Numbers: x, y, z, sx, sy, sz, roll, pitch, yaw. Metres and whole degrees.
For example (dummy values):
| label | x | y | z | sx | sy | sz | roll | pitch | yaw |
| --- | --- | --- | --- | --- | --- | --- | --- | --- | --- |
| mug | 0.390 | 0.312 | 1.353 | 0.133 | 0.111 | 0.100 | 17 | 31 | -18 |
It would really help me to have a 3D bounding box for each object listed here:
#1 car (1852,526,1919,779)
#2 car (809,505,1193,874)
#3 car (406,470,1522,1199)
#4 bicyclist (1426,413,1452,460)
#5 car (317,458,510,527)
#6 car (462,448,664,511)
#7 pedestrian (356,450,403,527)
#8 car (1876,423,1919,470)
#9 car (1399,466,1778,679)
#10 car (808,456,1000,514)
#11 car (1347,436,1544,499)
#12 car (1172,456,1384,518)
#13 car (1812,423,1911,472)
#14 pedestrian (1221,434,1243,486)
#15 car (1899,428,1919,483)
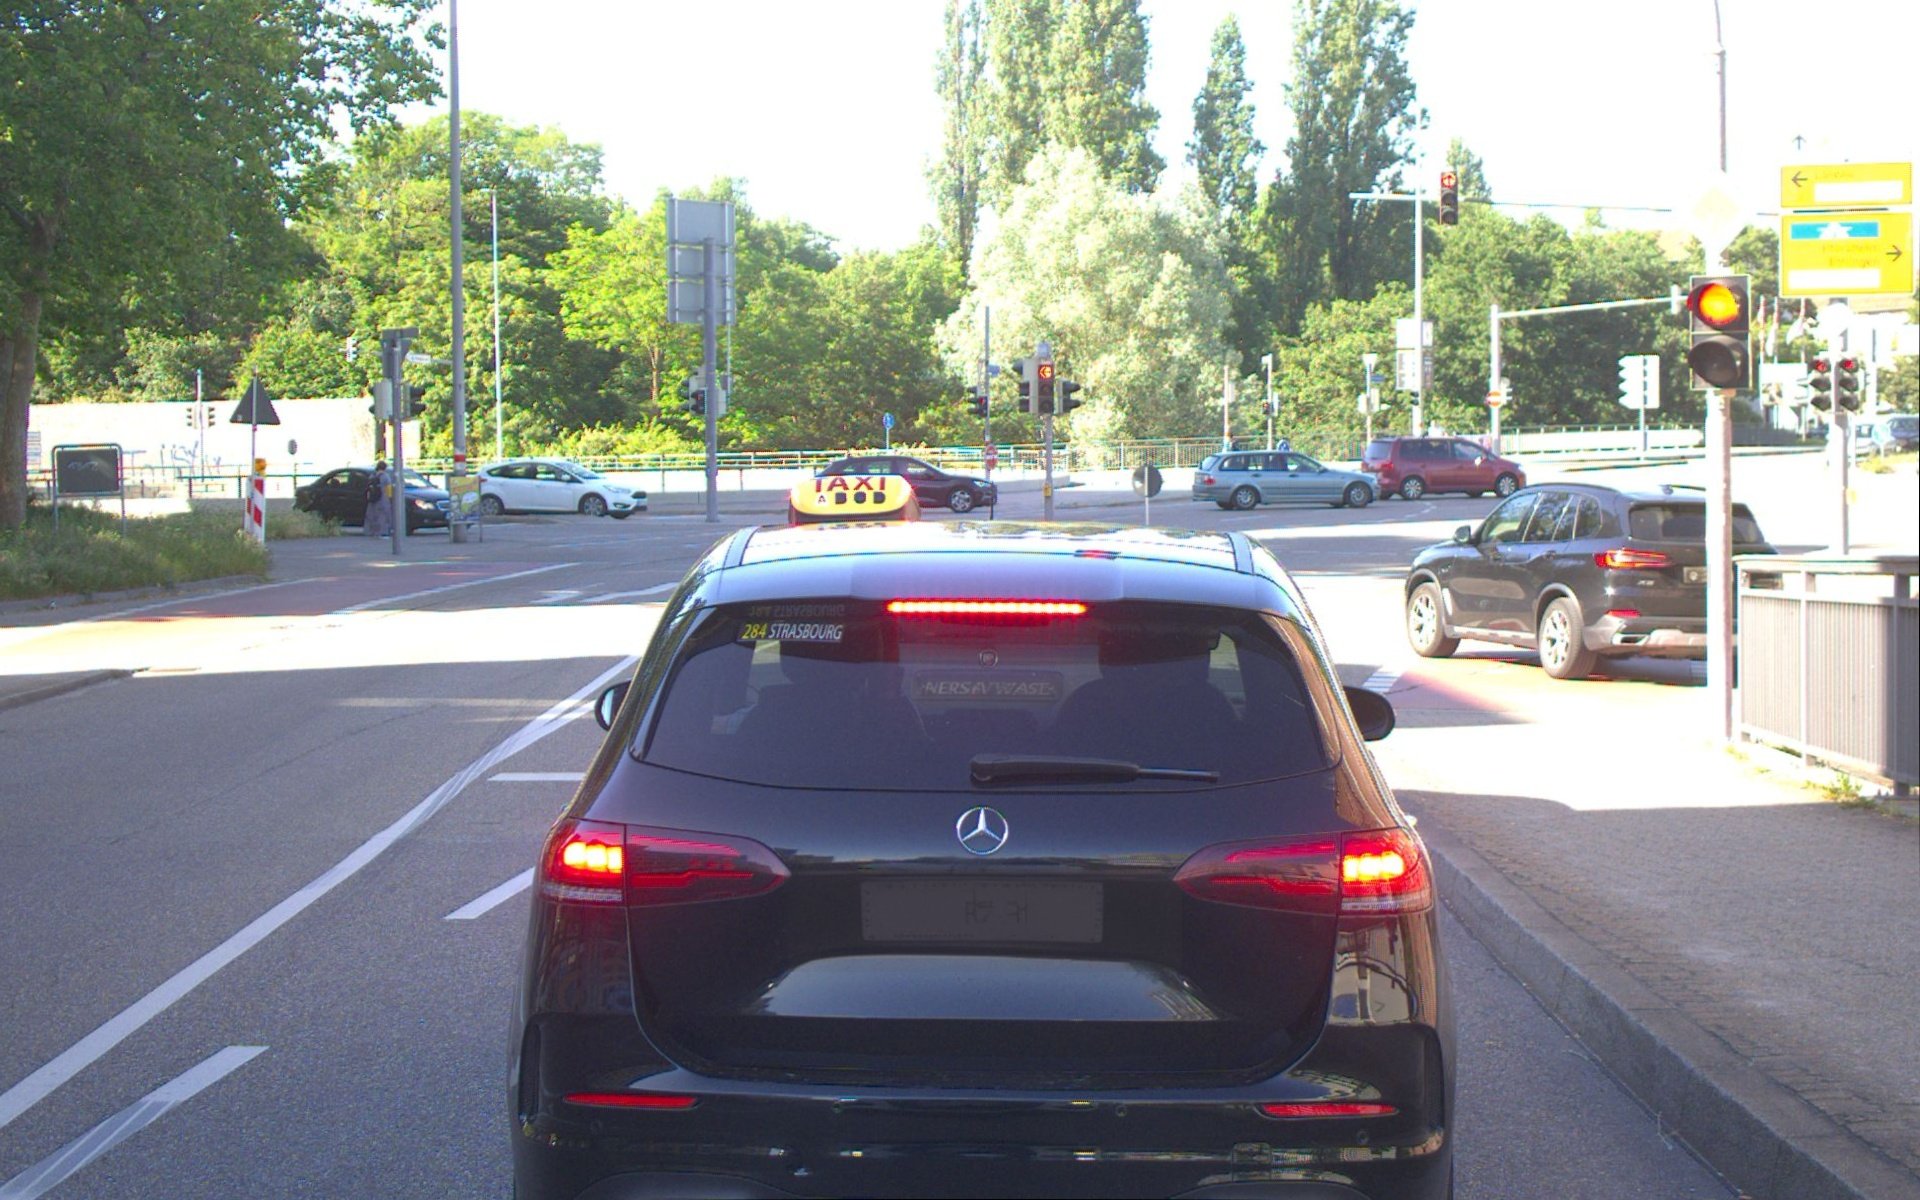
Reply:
| label | x | y | z | sx | sy | sz | roll | pitch | yaw |
| --- | --- | --- | --- | --- | --- | --- | --- | --- | --- |
| car | 6.912 | 0.376 | 21.463 | 1.721 | 1.516 | 3.487 | 0 | 4 | -1 |
| car | 0.228 | 0.347 | 16.725 | 1.640 | 1.524 | 3.474 | -1 | 2 | 2 |
| car | -0.019 | 0.542 | 7.839 | 1.878 | 1.608 | 4.000 | 1 | 2 | -1 |
| bicyclist | 15.723 | -5.368 | 112.835 | 0.526 | 1.545 | 0.805 | 0 | 3 | 34 |
| car | -11.501 | -2.264 | 72.239 | 4.197 | 1.402 | 1.743 | 2 | 4 | 43 |
| car | -9.421 | -2.863 | 81.659 | 4.304 | 1.360 | 1.999 | 0 | 4 | 17 |
| pedestrian | -11.473 | -2.204 | 67.988 | 0.705 | 1.520 | 0.743 | 1 | 2 | 10 |
| car | 33.563 | -5.371 | 119.816 | 1.882 | 1.573 | 3.992 | 1 | 3 | 36 |
| car | 5.715 | -0.291 | 31.816 | 1.721 | 1.806 | 4.299 | -1 | 2 | -16 |
| car | -1.369 | -2.847 | 85.101 | 4.580 | 1.290 | 1.886 | -1 | 3 | 5 |
| car | 12.358 | -3.399 | 87.598 | 4.536 | 1.450 | 2.001 | -2 | 4 | -15 |
| car | 7.467 | -2.669 | 80.877 | 4.578 | 1.290 | 2.001 | -2 | 3 | -10 |
| car | 30.073 | -5.106 | 114.662 | 1.882 | 1.573 | 3.992 | 1 | 3 | 36 |
| pedestrian | 8.303 | -4.276 | 104.889 | 0.451 | 1.580 | 0.500 | 1 | 3 | 40 |
| car | 27.437 | -3.933 | 91.870 | 4.808 | 1.436 | 2.000 | -4 | 4 | -37 |
